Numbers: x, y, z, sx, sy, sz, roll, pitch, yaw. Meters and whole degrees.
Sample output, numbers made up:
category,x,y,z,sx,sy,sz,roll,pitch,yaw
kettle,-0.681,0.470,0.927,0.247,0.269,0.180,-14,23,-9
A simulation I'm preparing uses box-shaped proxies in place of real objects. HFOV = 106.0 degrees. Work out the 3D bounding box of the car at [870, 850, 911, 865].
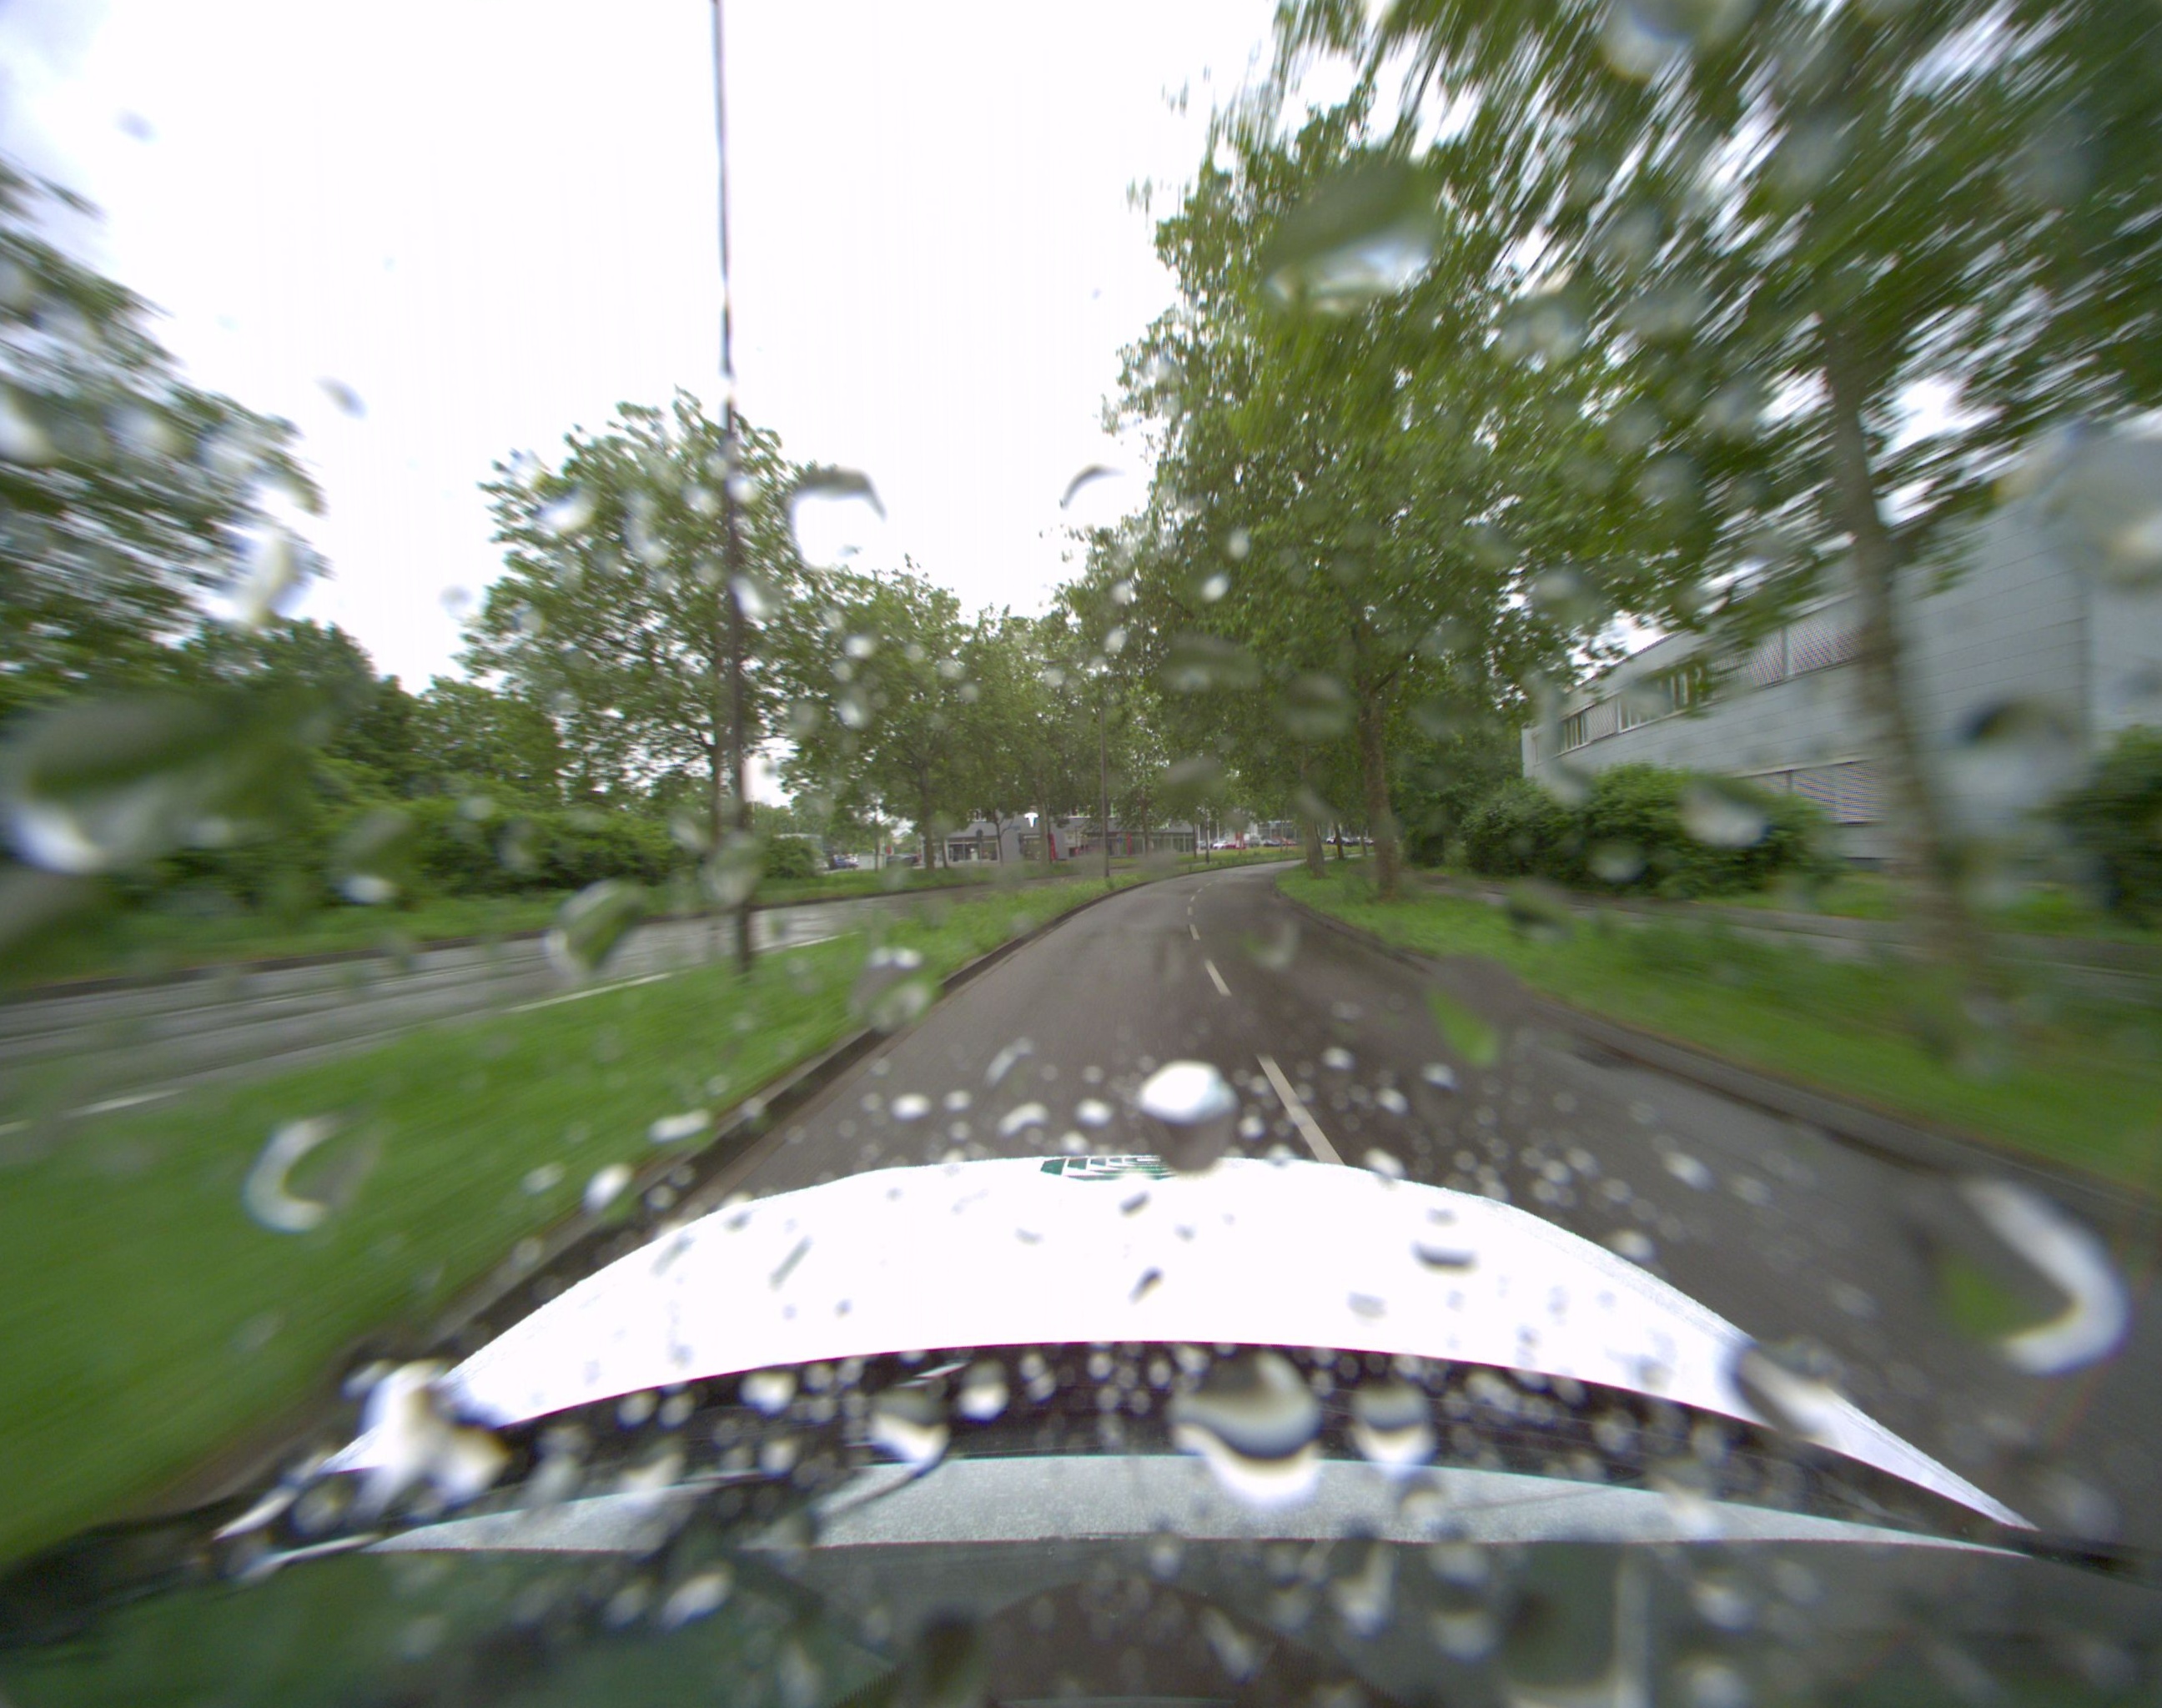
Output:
category,x,y,z,sx,sy,sz,roll,pitch,yaw
car,-21.503,0.398,92.127,4.171,1.494,1.600,-2,0,4

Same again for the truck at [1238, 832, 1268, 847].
category,x,y,z,sx,sy,sz,roll,pitch,yaw
truck,29.672,-2.512,140.296,2.226,2.343,6.234,3,5,41

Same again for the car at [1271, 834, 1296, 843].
category,x,y,z,sx,sy,sz,roll,pitch,yaw
car,36.649,-2.792,147.081,3.958,1.556,1.859,3,5,41

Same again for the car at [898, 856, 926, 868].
category,x,y,z,sx,sy,sz,roll,pitch,yaw
car,-22.732,1.102,109.606,3.290,1.494,1.600,-2,0,4

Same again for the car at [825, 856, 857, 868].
category,x,y,z,sx,sy,sz,roll,pitch,yaw
car,-33.143,1.137,112.478,3.743,1.494,1.600,-2,0,4

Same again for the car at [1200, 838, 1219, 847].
category,x,y,z,sx,sy,sz,roll,pitch,yaw
car,23.031,-1.989,145.525,1.745,1.396,4.184,0,3,34

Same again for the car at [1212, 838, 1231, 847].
category,x,y,z,sx,sy,sz,roll,pitch,yaw
car,24.946,-1.999,144.188,1.745,1.396,4.184,0,3,34

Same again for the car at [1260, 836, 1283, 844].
category,x,y,z,sx,sy,sz,roll,pitch,yaw
car,33.463,-2.477,143.171,3.490,1.326,1.780,3,5,41

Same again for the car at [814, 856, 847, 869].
category,x,y,z,sx,sy,sz,roll,pitch,yaw
car,-32.711,1.107,106.541,3.743,1.494,1.600,-2,0,4

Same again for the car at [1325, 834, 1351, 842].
category,x,y,z,sx,sy,sz,roll,pitch,yaw
car,51.144,-3.262,162.110,4.379,1.473,1.932,-1,1,38
